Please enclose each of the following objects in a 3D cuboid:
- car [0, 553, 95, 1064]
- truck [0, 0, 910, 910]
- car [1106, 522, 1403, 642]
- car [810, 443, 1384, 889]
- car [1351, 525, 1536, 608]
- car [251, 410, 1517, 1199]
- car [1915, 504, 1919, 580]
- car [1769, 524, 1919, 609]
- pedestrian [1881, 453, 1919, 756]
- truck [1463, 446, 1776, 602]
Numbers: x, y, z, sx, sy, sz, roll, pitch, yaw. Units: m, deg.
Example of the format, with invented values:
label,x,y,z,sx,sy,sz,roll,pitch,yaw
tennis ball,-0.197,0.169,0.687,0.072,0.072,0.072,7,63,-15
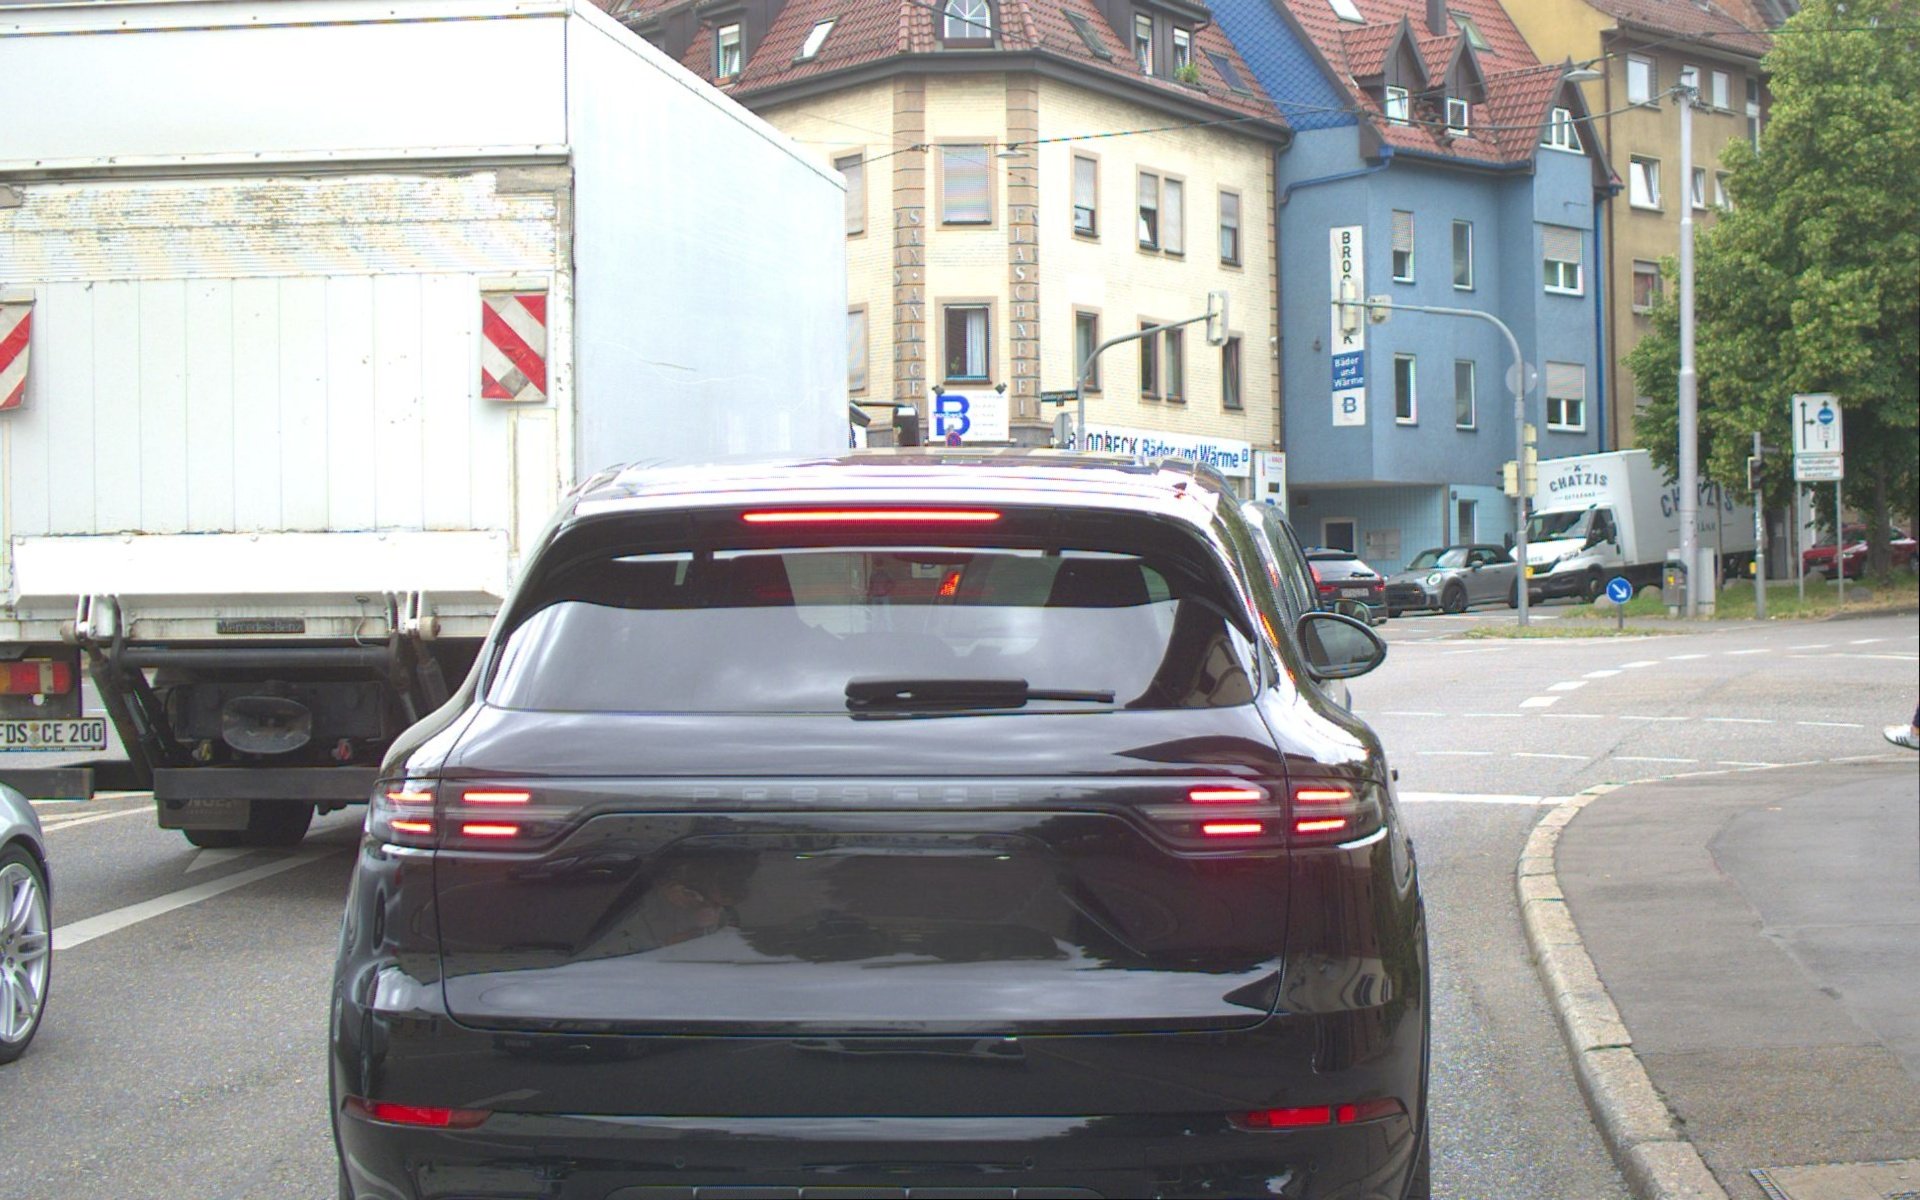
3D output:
label,x,y,z,sx,sy,sz,roll,pitch,yaw
car,-3.527,0.606,8.084,1.696,1.368,4.177,0,2,4
truck,-2.241,-0.714,17.203,2.770,3.562,8.062,0,1,8
car,4.526,-0.240,53.488,1.923,1.766,4.649,1,-1,-38
car,0.751,0.223,15.075,1.994,1.678,3.998,0,1,10
car,10.106,-0.711,71.696,1.998,1.678,3.991,1,1,40
car,-0.226,0.487,7.389,1.978,1.678,4.001,0,2,-3
car,27.267,-1.469,91.336,1.999,2.007,3.990,2,1,43
car,22.250,-0.826,86.258,1.999,2.007,3.990,2,1,43
pedestrian,5.990,0.033,20.916,0.589,1.813,0.529,2,0,2
truck,15.170,-1.678,78.547,2.880,3.328,8.772,2,1,41
